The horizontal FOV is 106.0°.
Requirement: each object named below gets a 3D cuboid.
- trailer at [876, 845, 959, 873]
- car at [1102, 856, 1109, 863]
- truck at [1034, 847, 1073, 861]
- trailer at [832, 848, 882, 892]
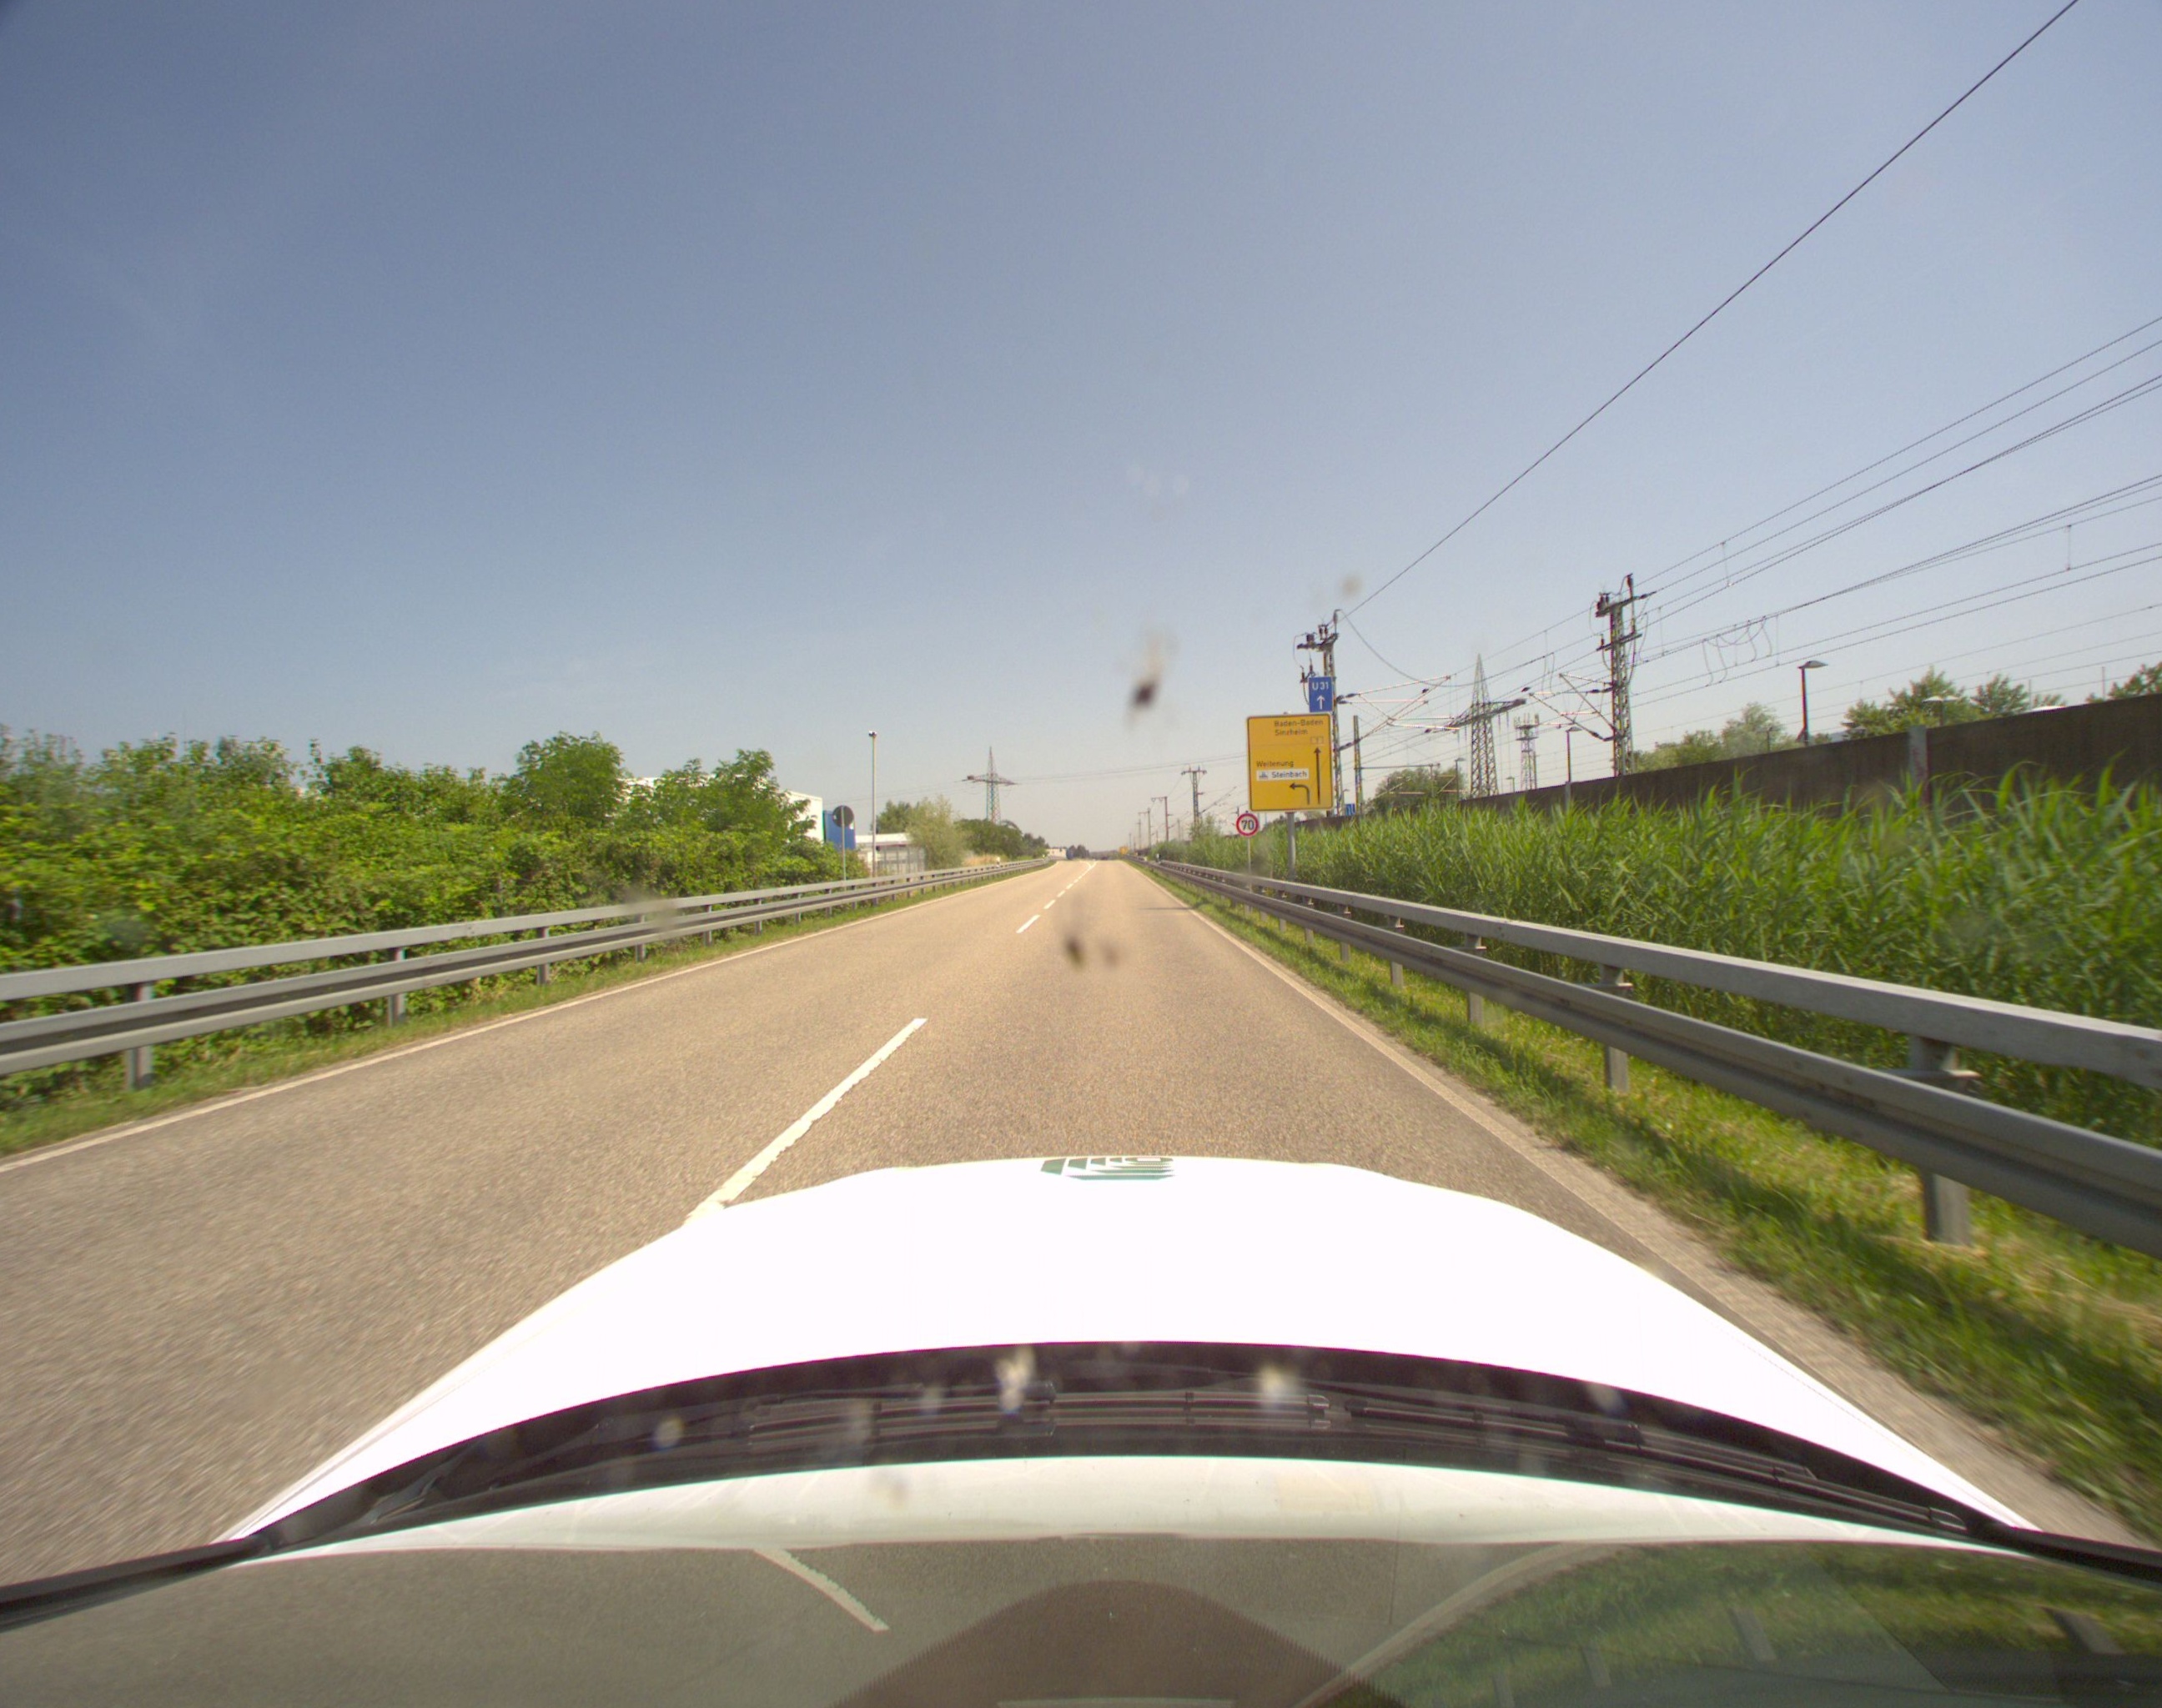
[{"bbox_3d":[-11.639,0.358,58.361,5.367,1.848,2.545,-1,0,1],"label":"trailer"},{"bbox_3d":[7.643,1.743,253.794,1.988,2.013,3.997,-1,0,-2],"label":"car"},{"bbox_3d":[-7.436,0.030,222.614,10.377,3.632,2.845,0,0,0],"label":"truck"},{"bbox_3d":[-12.958,0.876,47.345,1.989,2.437,3.918,0,0,-4],"label":"trailer"}]
